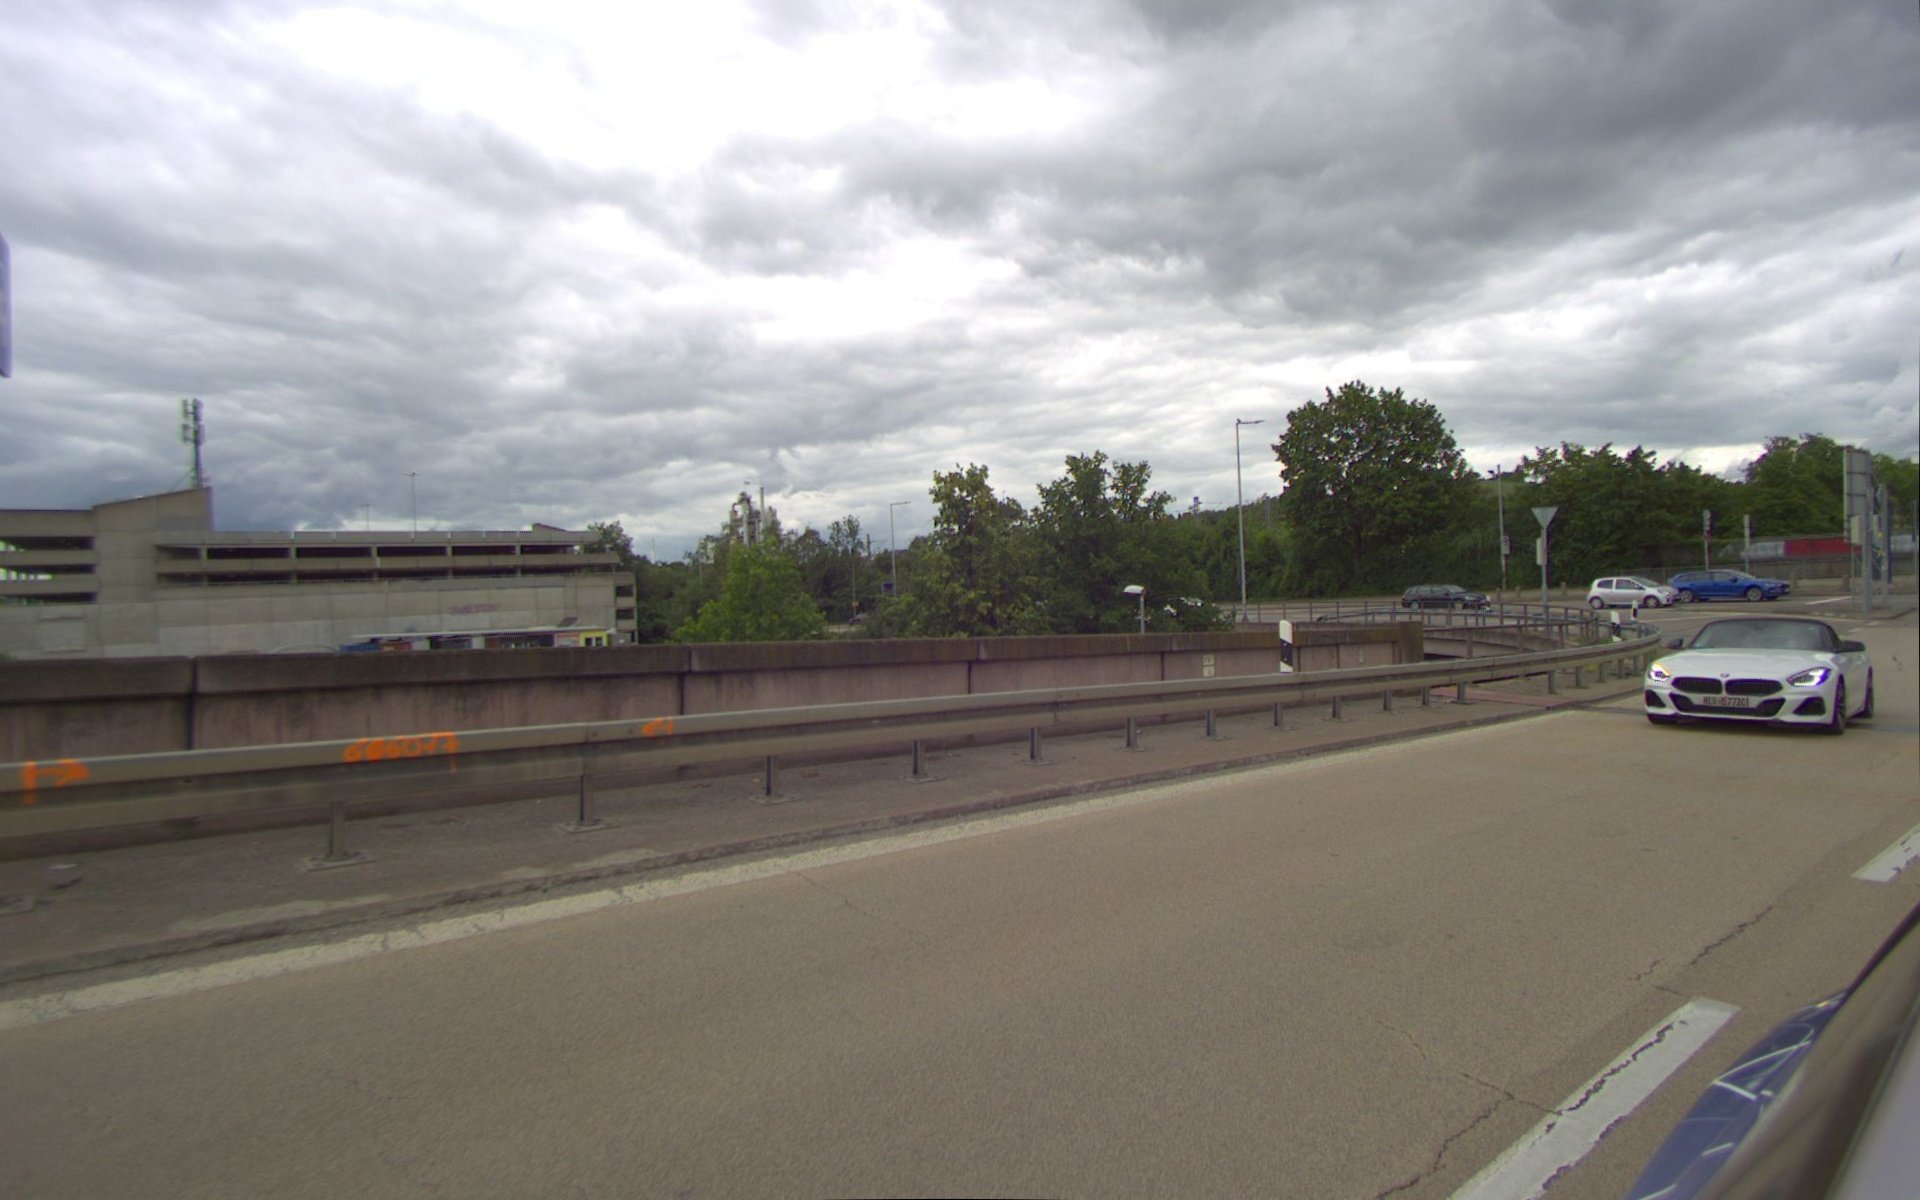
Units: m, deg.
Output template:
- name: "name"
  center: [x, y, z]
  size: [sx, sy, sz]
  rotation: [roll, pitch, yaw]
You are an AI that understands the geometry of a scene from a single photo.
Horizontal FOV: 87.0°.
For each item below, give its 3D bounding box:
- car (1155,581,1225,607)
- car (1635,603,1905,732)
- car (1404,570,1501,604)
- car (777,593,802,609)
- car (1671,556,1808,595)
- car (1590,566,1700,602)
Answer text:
- name: "car"
  center: [16.169, -0.394, 71.412]
  size: [1.844, 1.580, 4.712]
  rotation: [-5, 1, -36]
- name: "car"
  center: [10.469, 0.731, 12.938]
  size: [4.740, 1.362, 1.861]
  rotation: [1, -1, -41]
- name: "car"
  center: [26.669, -0.673, 54.904]
  size: [1.911, 1.575, 4.295]
  rotation: [-5, 1, -33]
- name: "car"
  center: [-22.799, 0.146, 135.065]
  size: [1.621, 2.038, 3.596]
  rotation: [-4, 1, -38]
- name: "car"
  center: [34.944, -1.058, 45.512]
  size: [1.579, 1.472, 4.546]
  rotation: [-5, 1, -30]
- name: "car"
  center: [31.233, -0.725, 46.243]
  size: [1.597, 1.391, 3.751]
  rotation: [-5, 1, -31]
